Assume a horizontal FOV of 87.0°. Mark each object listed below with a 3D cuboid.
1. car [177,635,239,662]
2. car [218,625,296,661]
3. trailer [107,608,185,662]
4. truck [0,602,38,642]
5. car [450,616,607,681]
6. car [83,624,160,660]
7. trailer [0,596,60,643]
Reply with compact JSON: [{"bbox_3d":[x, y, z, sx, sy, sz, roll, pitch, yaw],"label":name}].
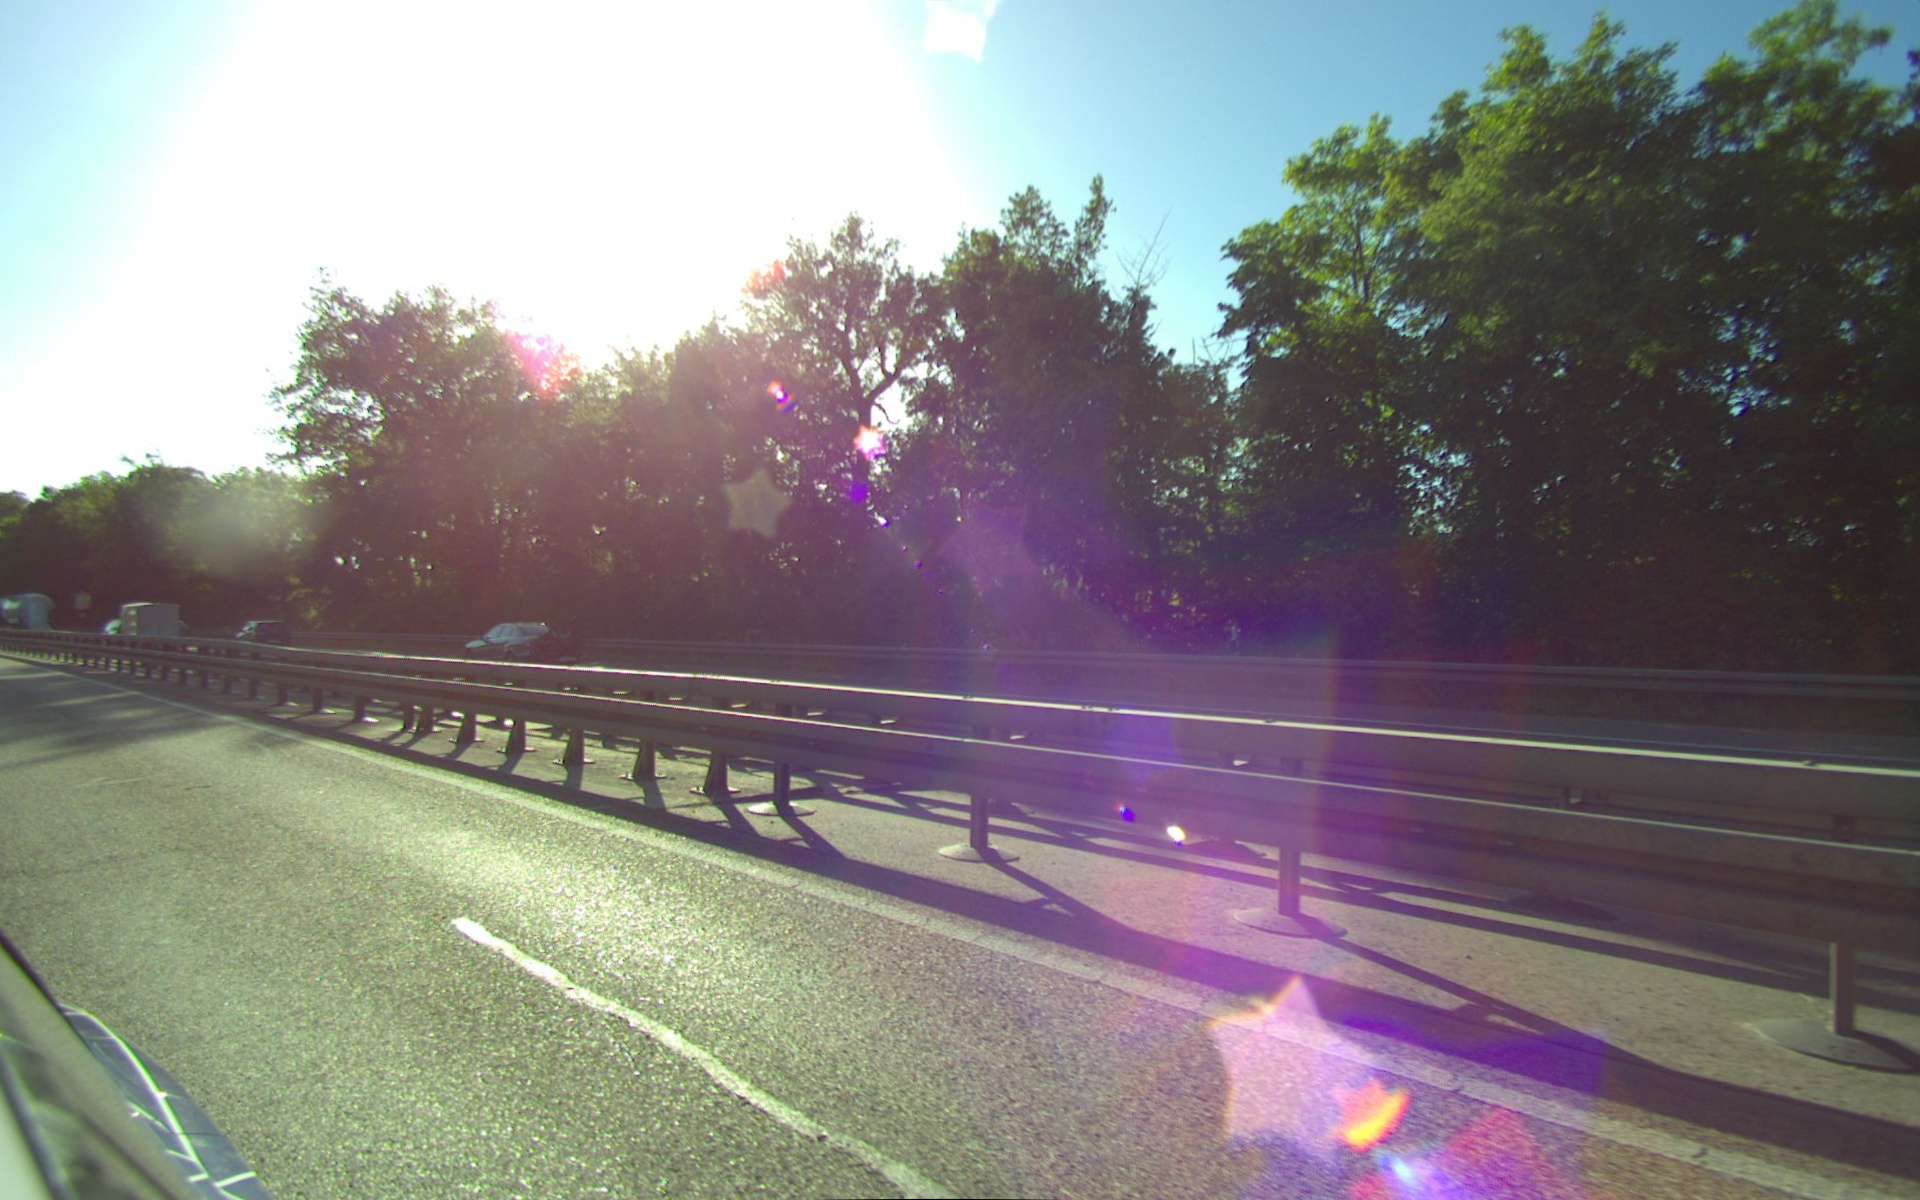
[{"bbox_3d":[-45.721,2.913,61.491,4.983,1.478,2.050,-2,-1,41],"label":"car"},{"bbox_3d":[-34.980,2.104,50.308,5.056,1.626,2.050,-2,-1,41],"label":"car"},{"bbox_3d":[-38.385,1.640,47.668,4.602,2.456,1.973,-2,-2,40],"label":"trailer"},{"bbox_3d":[-89.000,2.081,94.920,6.151,3.658,2.950,-1,-2,40],"label":"truck"},{"bbox_3d":[-12.938,1.378,30.108,5.876,1.738,2.096,-2,-1,43],"label":"car"},{"bbox_3d":[-42.147,2.080,50.813,5.220,1.761,2.050,-2,-2,40],"label":"car"},{"bbox_3d":[-83.742,1.788,90.627,10.961,4.028,3.022,-1,-2,39],"label":"trailer"}]
